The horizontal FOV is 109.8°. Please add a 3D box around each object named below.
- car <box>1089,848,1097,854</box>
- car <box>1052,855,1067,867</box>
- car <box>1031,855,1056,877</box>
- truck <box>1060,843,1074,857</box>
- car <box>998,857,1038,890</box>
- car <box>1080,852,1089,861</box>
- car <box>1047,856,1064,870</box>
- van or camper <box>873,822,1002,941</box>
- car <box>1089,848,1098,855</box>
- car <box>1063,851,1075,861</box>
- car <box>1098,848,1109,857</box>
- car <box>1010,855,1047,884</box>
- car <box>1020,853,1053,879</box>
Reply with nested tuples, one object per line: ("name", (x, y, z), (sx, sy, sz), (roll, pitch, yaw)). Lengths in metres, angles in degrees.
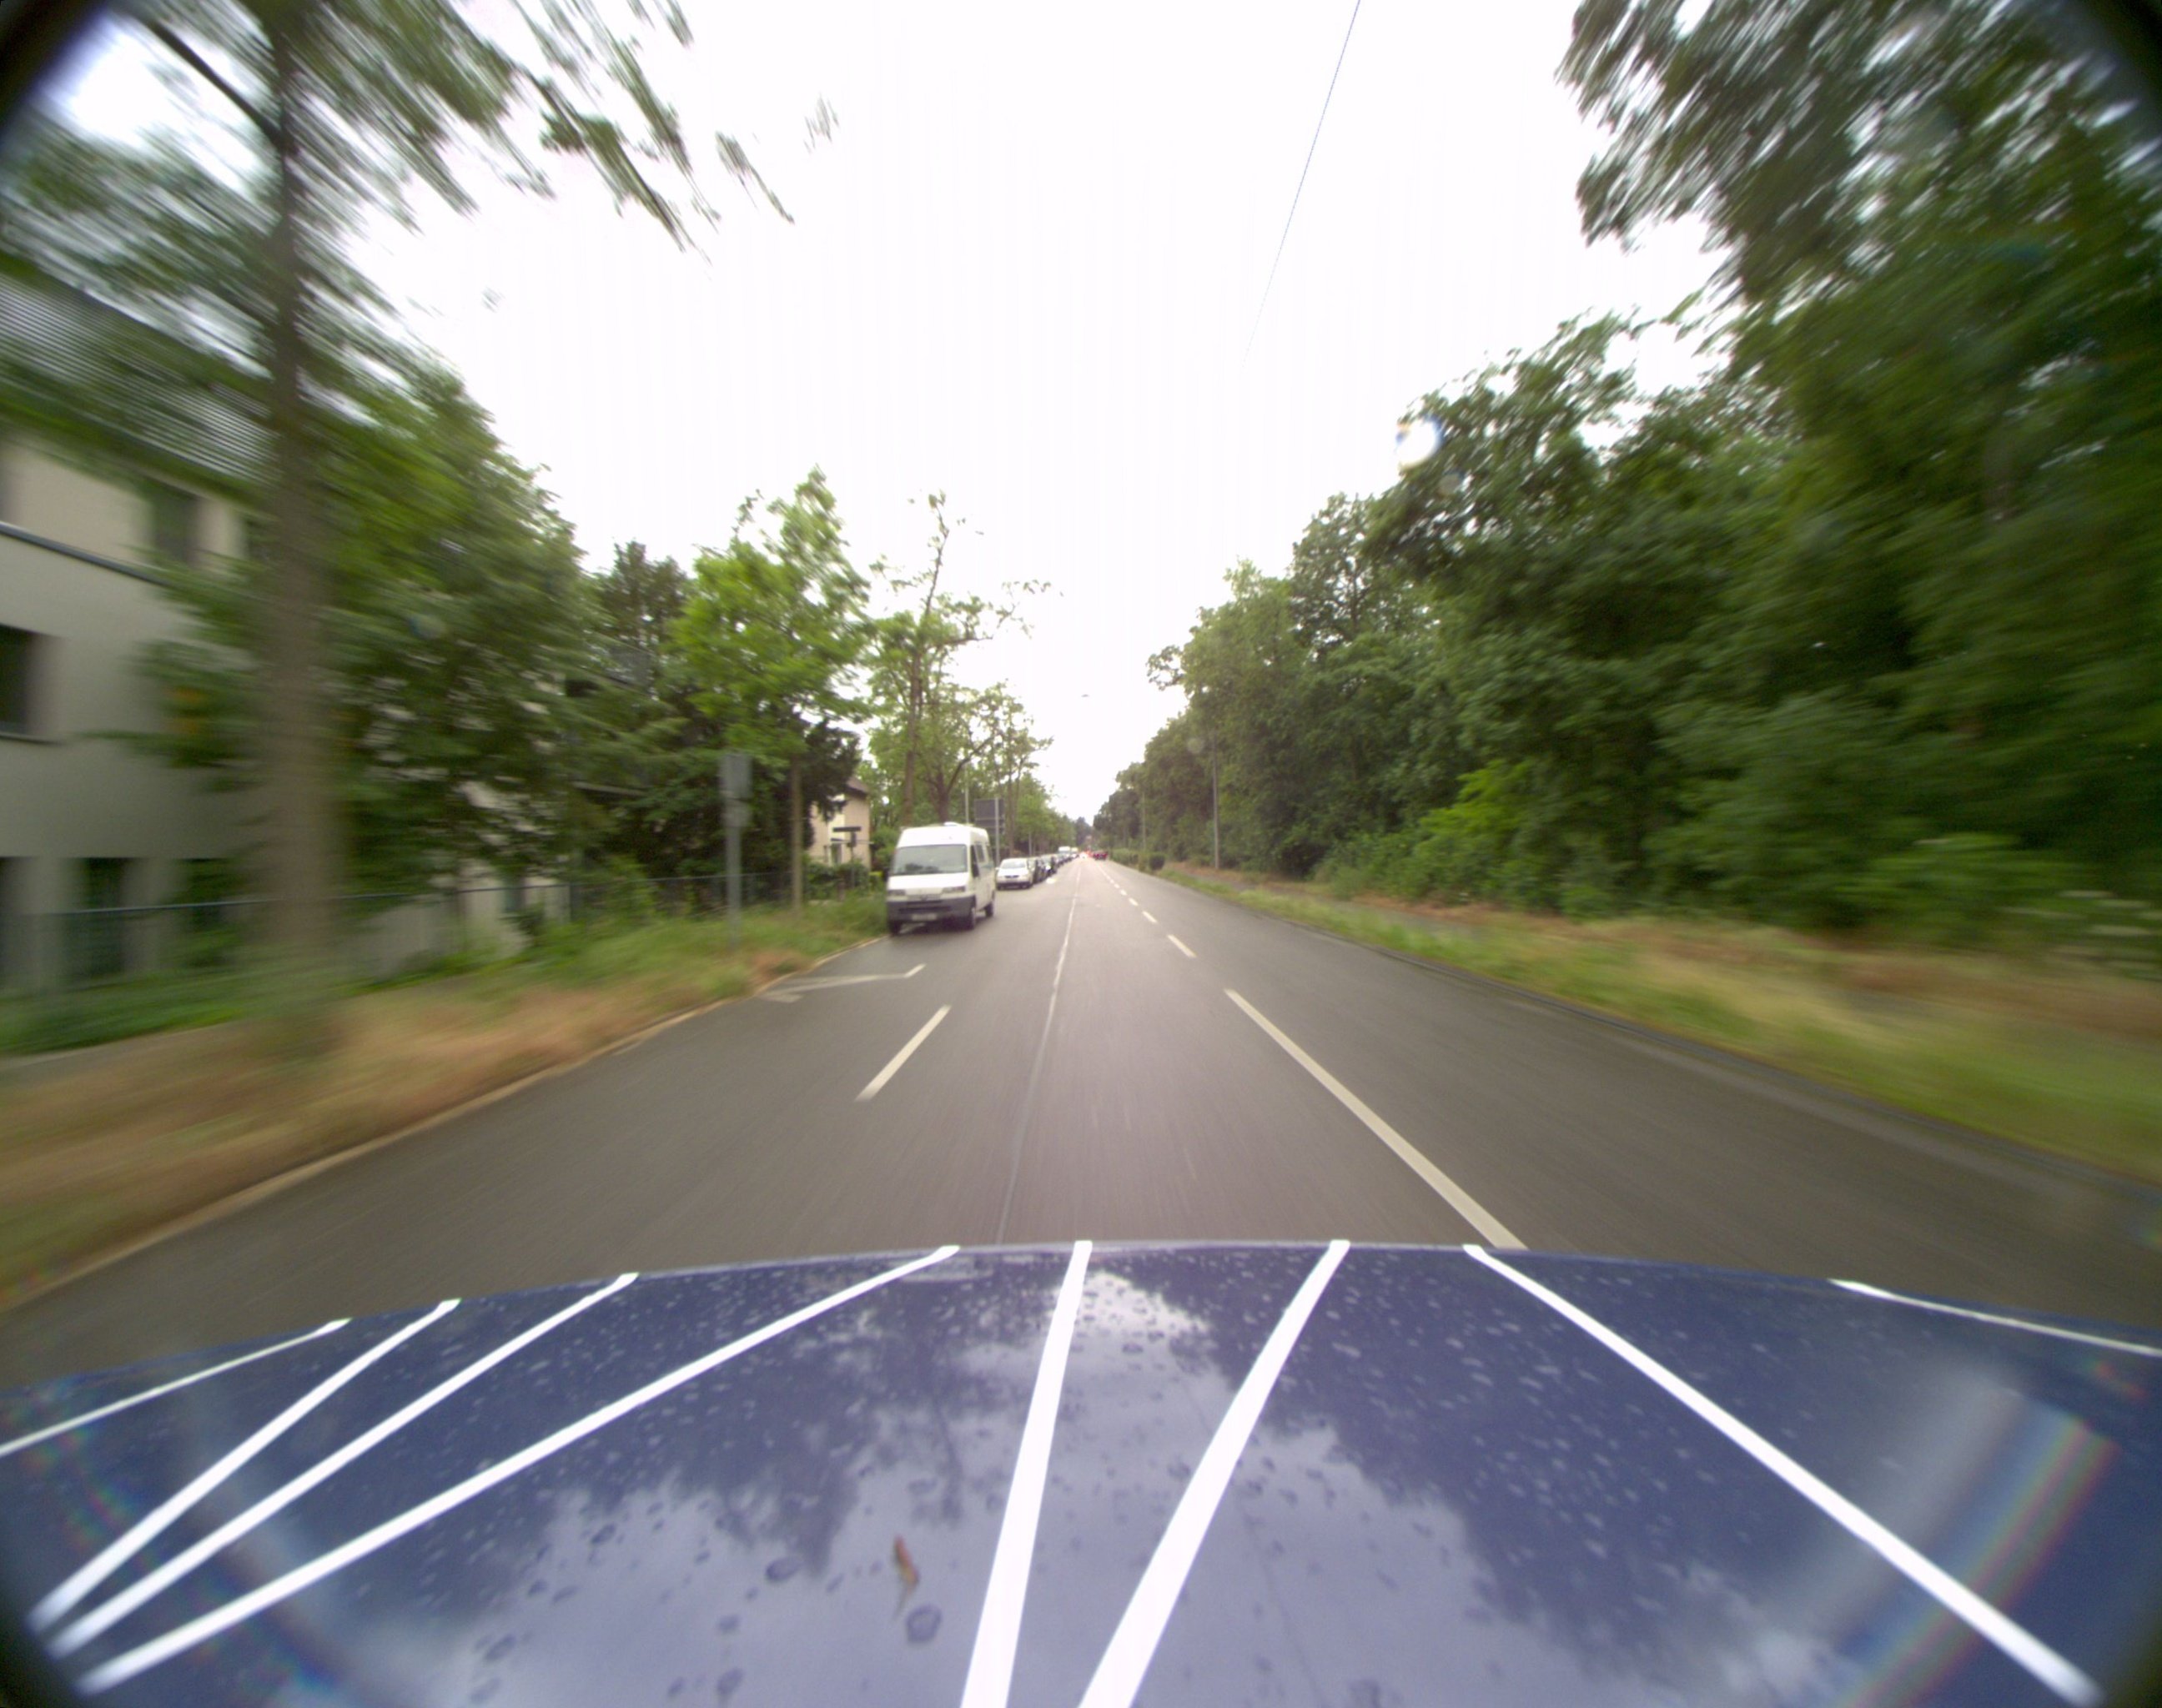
("car", (3.203, -0.787, 205.117), (1.999, 1.543, 3.999), (0, 1, 0))
("car", (-2.683, 0.860, 94.895), (1.675, 1.420, 3.699), (-3, 1, 0))
("car", (-2.701, 0.827, 55.898), (1.621, 1.459, 4.409), (-3, 0, -1))
("truck", (-2.399, -0.678, 129.680), (2.230, 2.322, 5.113), (0, 1, -1))
("car", (-3.149, 0.926, 38.519), (1.575, 1.463, 3.764), (-3, 0, 1))
("car", (0.860, 0.516, 185.643), (1.998, 2.002, 3.999), (-3, 1, 2))
("car", (-2.723, 0.946, 82.761), (1.675, 1.420, 3.699), (-3, 1, 0))
("van or camper", (-3.406, 0.581, 19.316), (2.042, 2.465, 5.638), (-4, 0, 0))
("car", (2.929, -0.547, 175.444), (1.851, 1.490, 3.999), (0, 1, -1))
("car", (-1.908, 0.257, 117.310), (1.789, 1.452, 3.999), (0, 1, -1))
("car", (3.969, -0.268, 132.804), (1.680, 1.608, 4.061), (0, 1, -1))
("car", (-3.045, 0.876, 44.504), (1.621, 1.462, 3.944), (-3, 0, 3))
("car", (-2.923, 0.762, 50.521), (1.757, 1.517, 4.822), (-3, 0, 1))
